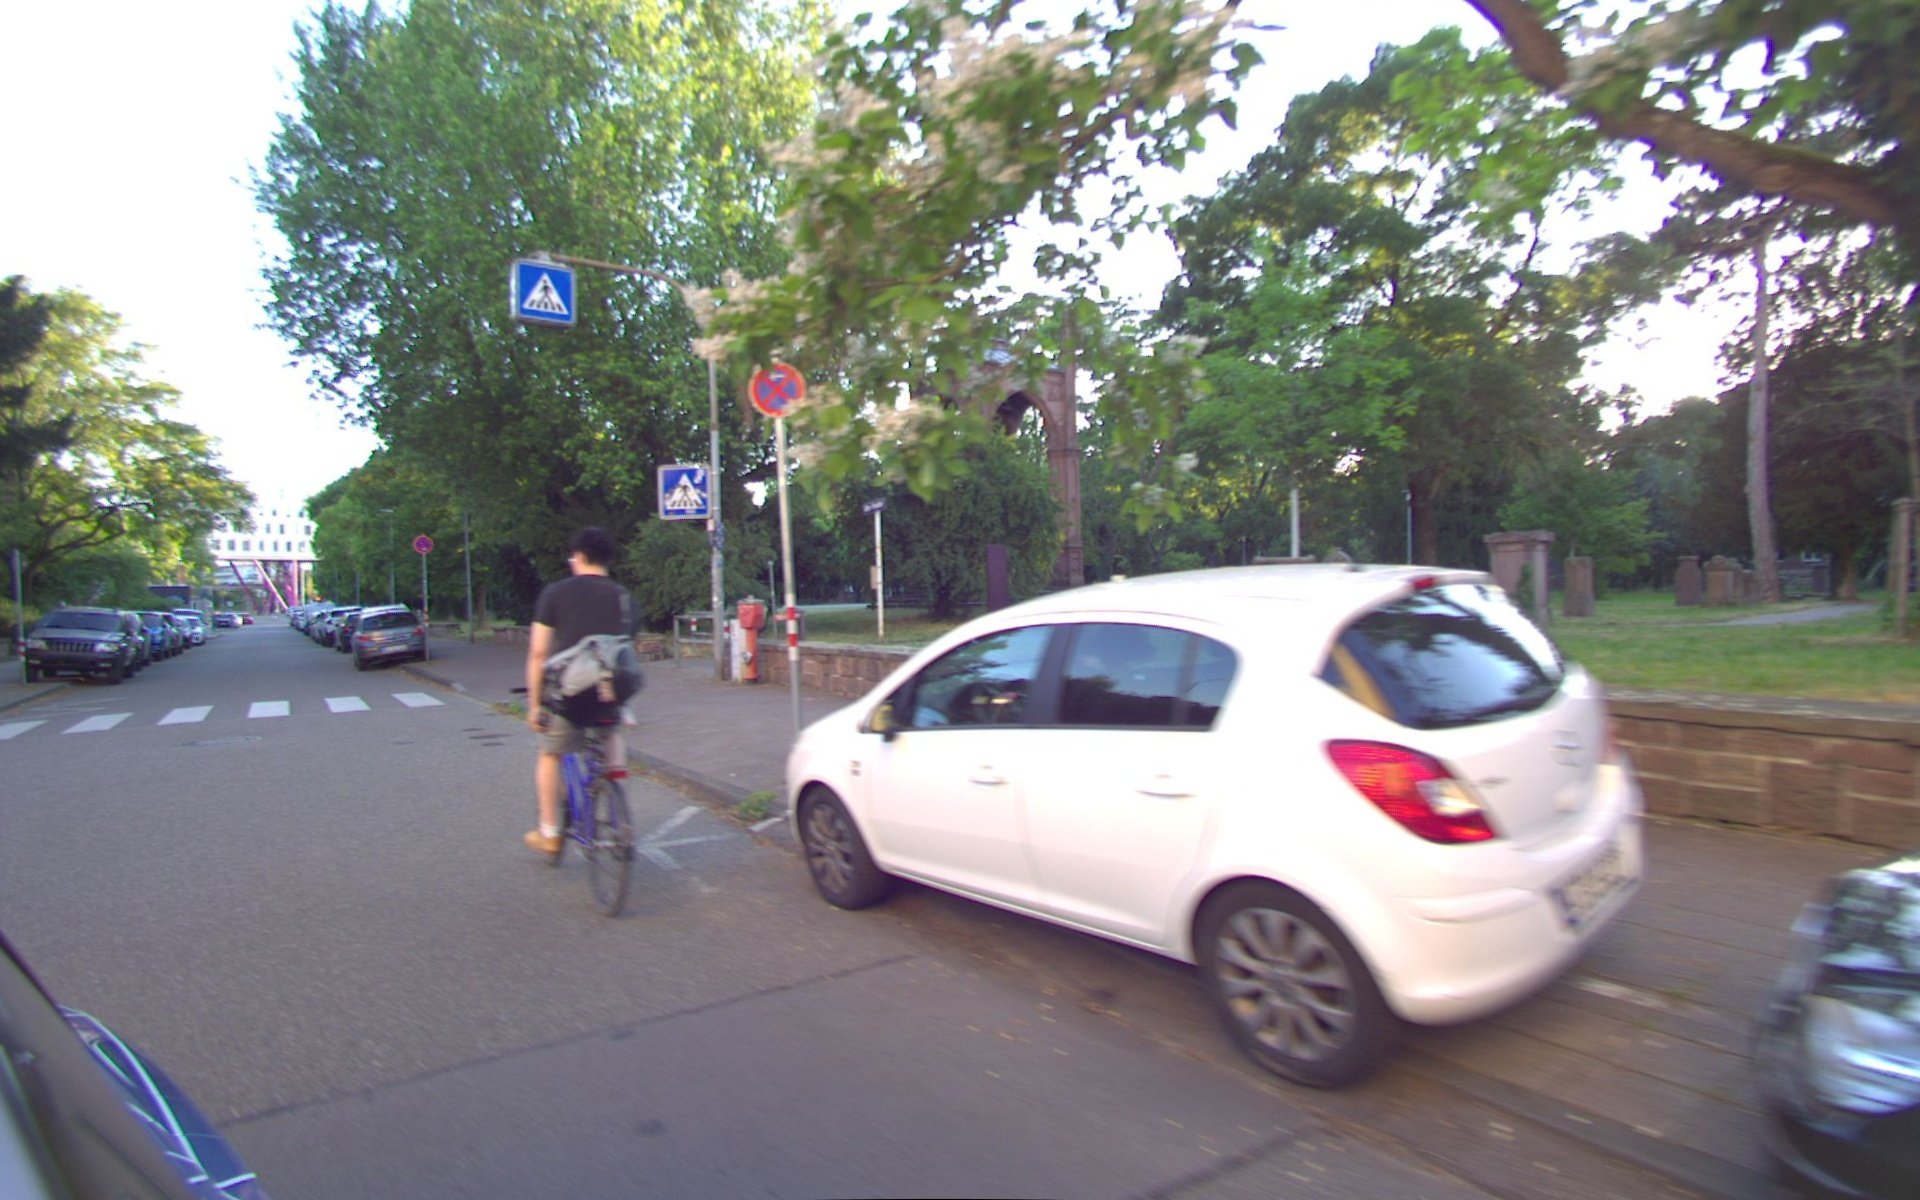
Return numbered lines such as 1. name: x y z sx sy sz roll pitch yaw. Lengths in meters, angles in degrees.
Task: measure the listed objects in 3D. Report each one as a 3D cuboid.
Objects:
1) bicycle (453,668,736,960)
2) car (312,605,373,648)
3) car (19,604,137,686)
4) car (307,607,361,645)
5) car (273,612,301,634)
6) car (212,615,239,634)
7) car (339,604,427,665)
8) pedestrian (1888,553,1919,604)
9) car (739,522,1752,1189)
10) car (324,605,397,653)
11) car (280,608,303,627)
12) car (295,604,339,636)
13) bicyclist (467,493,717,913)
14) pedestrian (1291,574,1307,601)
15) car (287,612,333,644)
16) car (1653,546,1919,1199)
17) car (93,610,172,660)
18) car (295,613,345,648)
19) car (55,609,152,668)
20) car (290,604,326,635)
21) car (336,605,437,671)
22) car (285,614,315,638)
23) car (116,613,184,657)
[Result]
1. bicycle: -1.914 0.941 5.122 0.750 1.105 1.867 1 -2 -40
2. car: -26.847 1.132 43.973 1.759 1.583 3.893 -8 3 -37
3. car: -20.615 1.030 23.801 1.758 1.767 3.893 2 -2 -37
4. car: -30.397 1.251 49.094 1.759 1.583 3.893 -8 3 -37
5. car: -63.397 2.153 95.299 1.759 1.795 4.021 -8 3 -37
6. car: -71.234 2.355 98.127 1.967 1.763 4.009 -2 0 -37
7. car: -18.104 1.061 31.674 1.759 1.588 3.893 -8 3 -37
8. pedestrian: 27.738 -0.616 29.032 1.216 1.437 1.285 -1 -1 -28
9. car: 0.764 0.608 4.370 1.641 1.525 3.890 -5 2 -40
10. car: -22.072 1.058 37.174 1.759 1.487 3.893 -8 3 -37
11. car: -72.610 1.891 109.904 1.759 1.795 4.021 -8 3 -37
12. car: -41.884 1.310 65.892 1.935 1.849 3.893 -8 3 -37
13. bicyclist: -1.856 0.452 5.056 0.848 1.822 1.018 -1 -1 -41
14. pedestrian: 20.875 -0.765 62.322 0.657 1.681 0.667 -1 1 -7
15. car: -36.859 1.586 57.371 1.759 1.583 3.893 -8 3 -37
16. car: 3.273 0.615 0.555 1.640 1.426 4.424 -8 3 -35
17. car: -27.184 1.152 33.353 1.758 1.511 3.893 4 -3 -37
18. car: -33.477 1.584 52.878 1.759 1.583 3.893 -8 3 -37
19. car: -23.962 1.086 28.439 1.758 1.511 3.893 4 -3 -37
20. car: -48.153 1.452 74.694 1.759 2.051 3.893 -8 3 -37
21. car: -15.594 1.003 27.426 1.759 1.461 3.893 -8 3 -37
22. car: -56.989 2.270 87.419 1.759 1.808 3.893 -8 3 -37
23. car: -30.238 1.302 37.866 1.758 1.511 3.893 4 -3 -37
